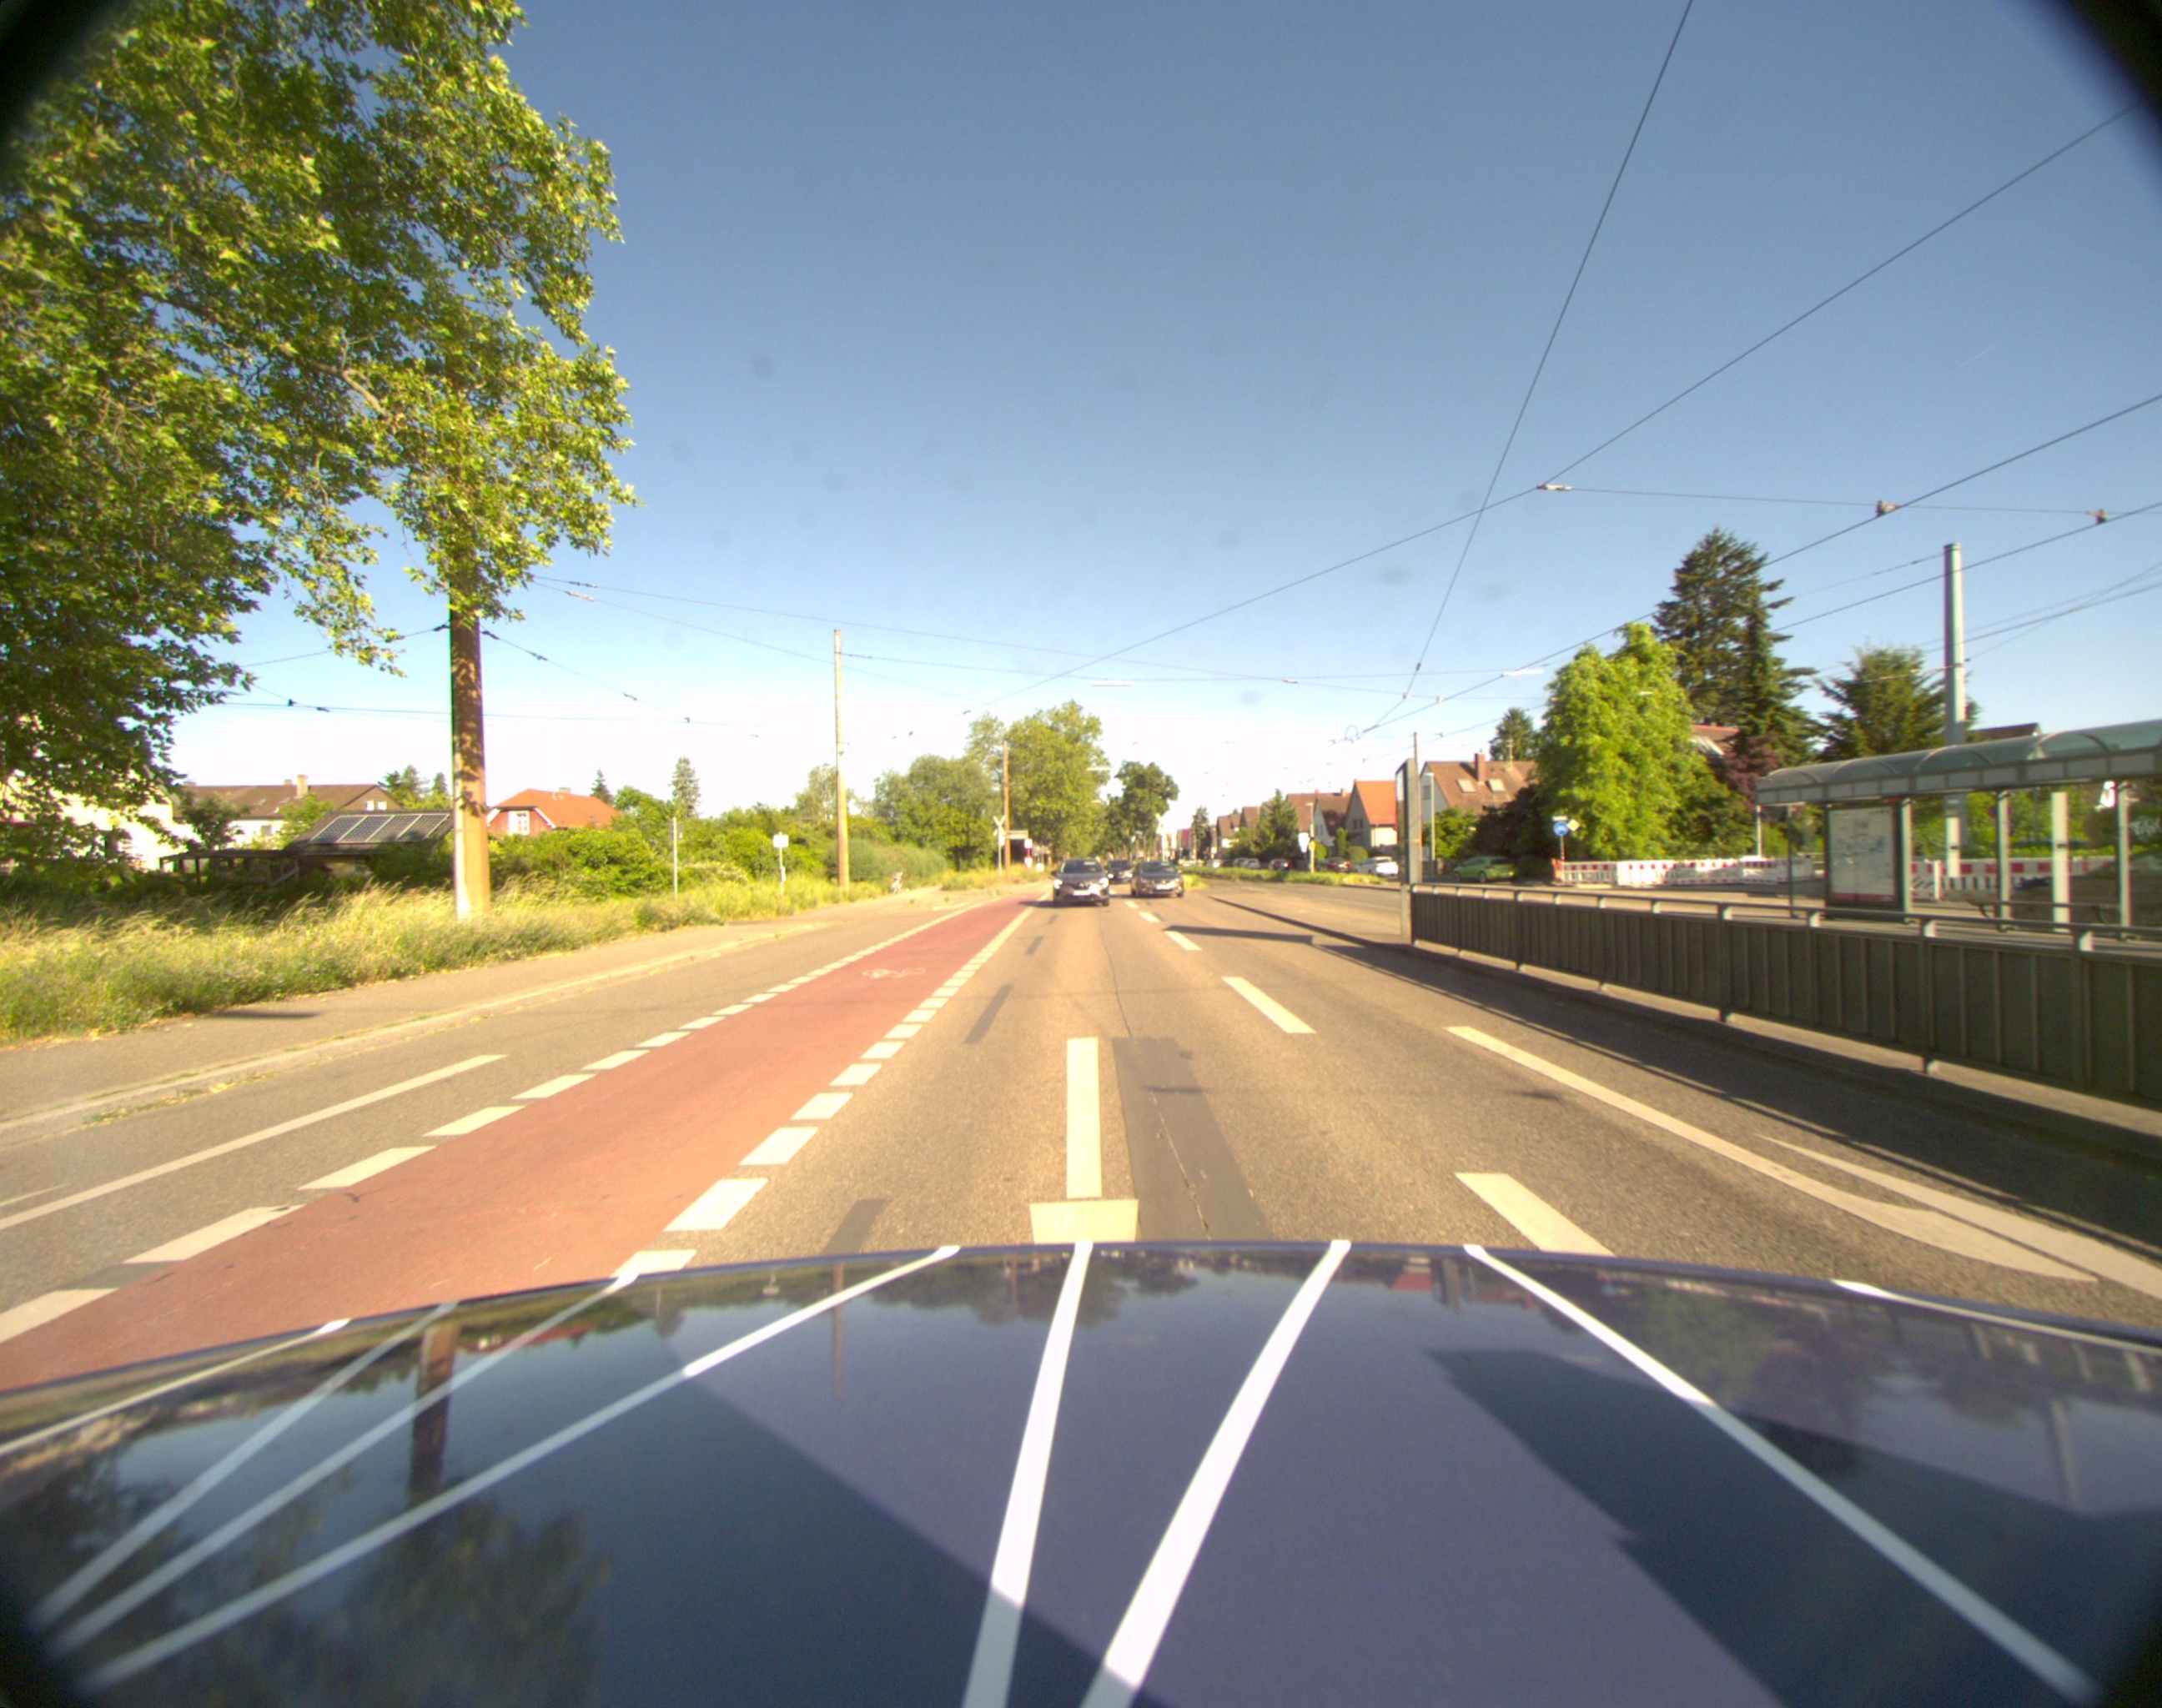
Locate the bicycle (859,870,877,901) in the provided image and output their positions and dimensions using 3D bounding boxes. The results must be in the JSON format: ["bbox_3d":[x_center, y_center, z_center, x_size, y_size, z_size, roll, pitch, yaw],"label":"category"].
[{"bbox_3d":[-8.415,1.218,30.070,0.366,1.128,2.094,-1,0,-7],"label":"bicycle"}]

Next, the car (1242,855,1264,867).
[{"bbox_3d":[22.290,0.917,98.621,1.888,1.463,4.839,-3,0,1],"label":"car"}]

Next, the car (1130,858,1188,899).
[{"bbox_3d":[3.027,0.923,30.379,1.780,1.441,4.333,-1,0,-1],"label":"car"}]

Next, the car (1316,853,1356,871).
[{"bbox_3d":[21.959,0.660,65.548,1.912,1.457,4.441,-3,0,1],"label":"car"}]

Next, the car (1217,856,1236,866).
[{"bbox_3d":[22.039,1.077,115.380,1.998,1.333,4.982,-3,0,1],"label":"car"}]

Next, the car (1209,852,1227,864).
[{"bbox_3d":[22.370,0.623,124.227,1.998,1.852,4.584,-2,0,1],"label":"car"}]

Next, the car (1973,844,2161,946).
[{"bbox_3d":[17.044,0.605,11.608,1.740,1.511,4.344,-1,0,0],"label":"car"}]

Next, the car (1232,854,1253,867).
[{"bbox_3d":[22.044,0.873,103.676,1.888,1.552,4.537,-3,0,1],"label":"car"}]

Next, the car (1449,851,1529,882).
[{"bbox_3d":[21.869,0.657,40.952,1.999,1.492,4.068,-3,0,-2],"label":"car"}]

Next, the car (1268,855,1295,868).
[{"bbox_3d":[22.269,0.837,84.495,1.998,1.363,4.310,-2,0,1],"label":"car"}]

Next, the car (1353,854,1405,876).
[{"bbox_3d":[21.834,0.796,55.894,1.888,1.464,4.614,-3,0,-1],"label":"car"}]

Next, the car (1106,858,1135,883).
[{"bbox_3d":[2.726,1.128,52.672,1.779,1.620,4.288,-1,0,0],"label":"car"}]

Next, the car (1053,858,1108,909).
[{"bbox_3d":[-0.039,0.928,25.343,1.673,1.529,3.586,-2,0,0],"label":"car"}]
